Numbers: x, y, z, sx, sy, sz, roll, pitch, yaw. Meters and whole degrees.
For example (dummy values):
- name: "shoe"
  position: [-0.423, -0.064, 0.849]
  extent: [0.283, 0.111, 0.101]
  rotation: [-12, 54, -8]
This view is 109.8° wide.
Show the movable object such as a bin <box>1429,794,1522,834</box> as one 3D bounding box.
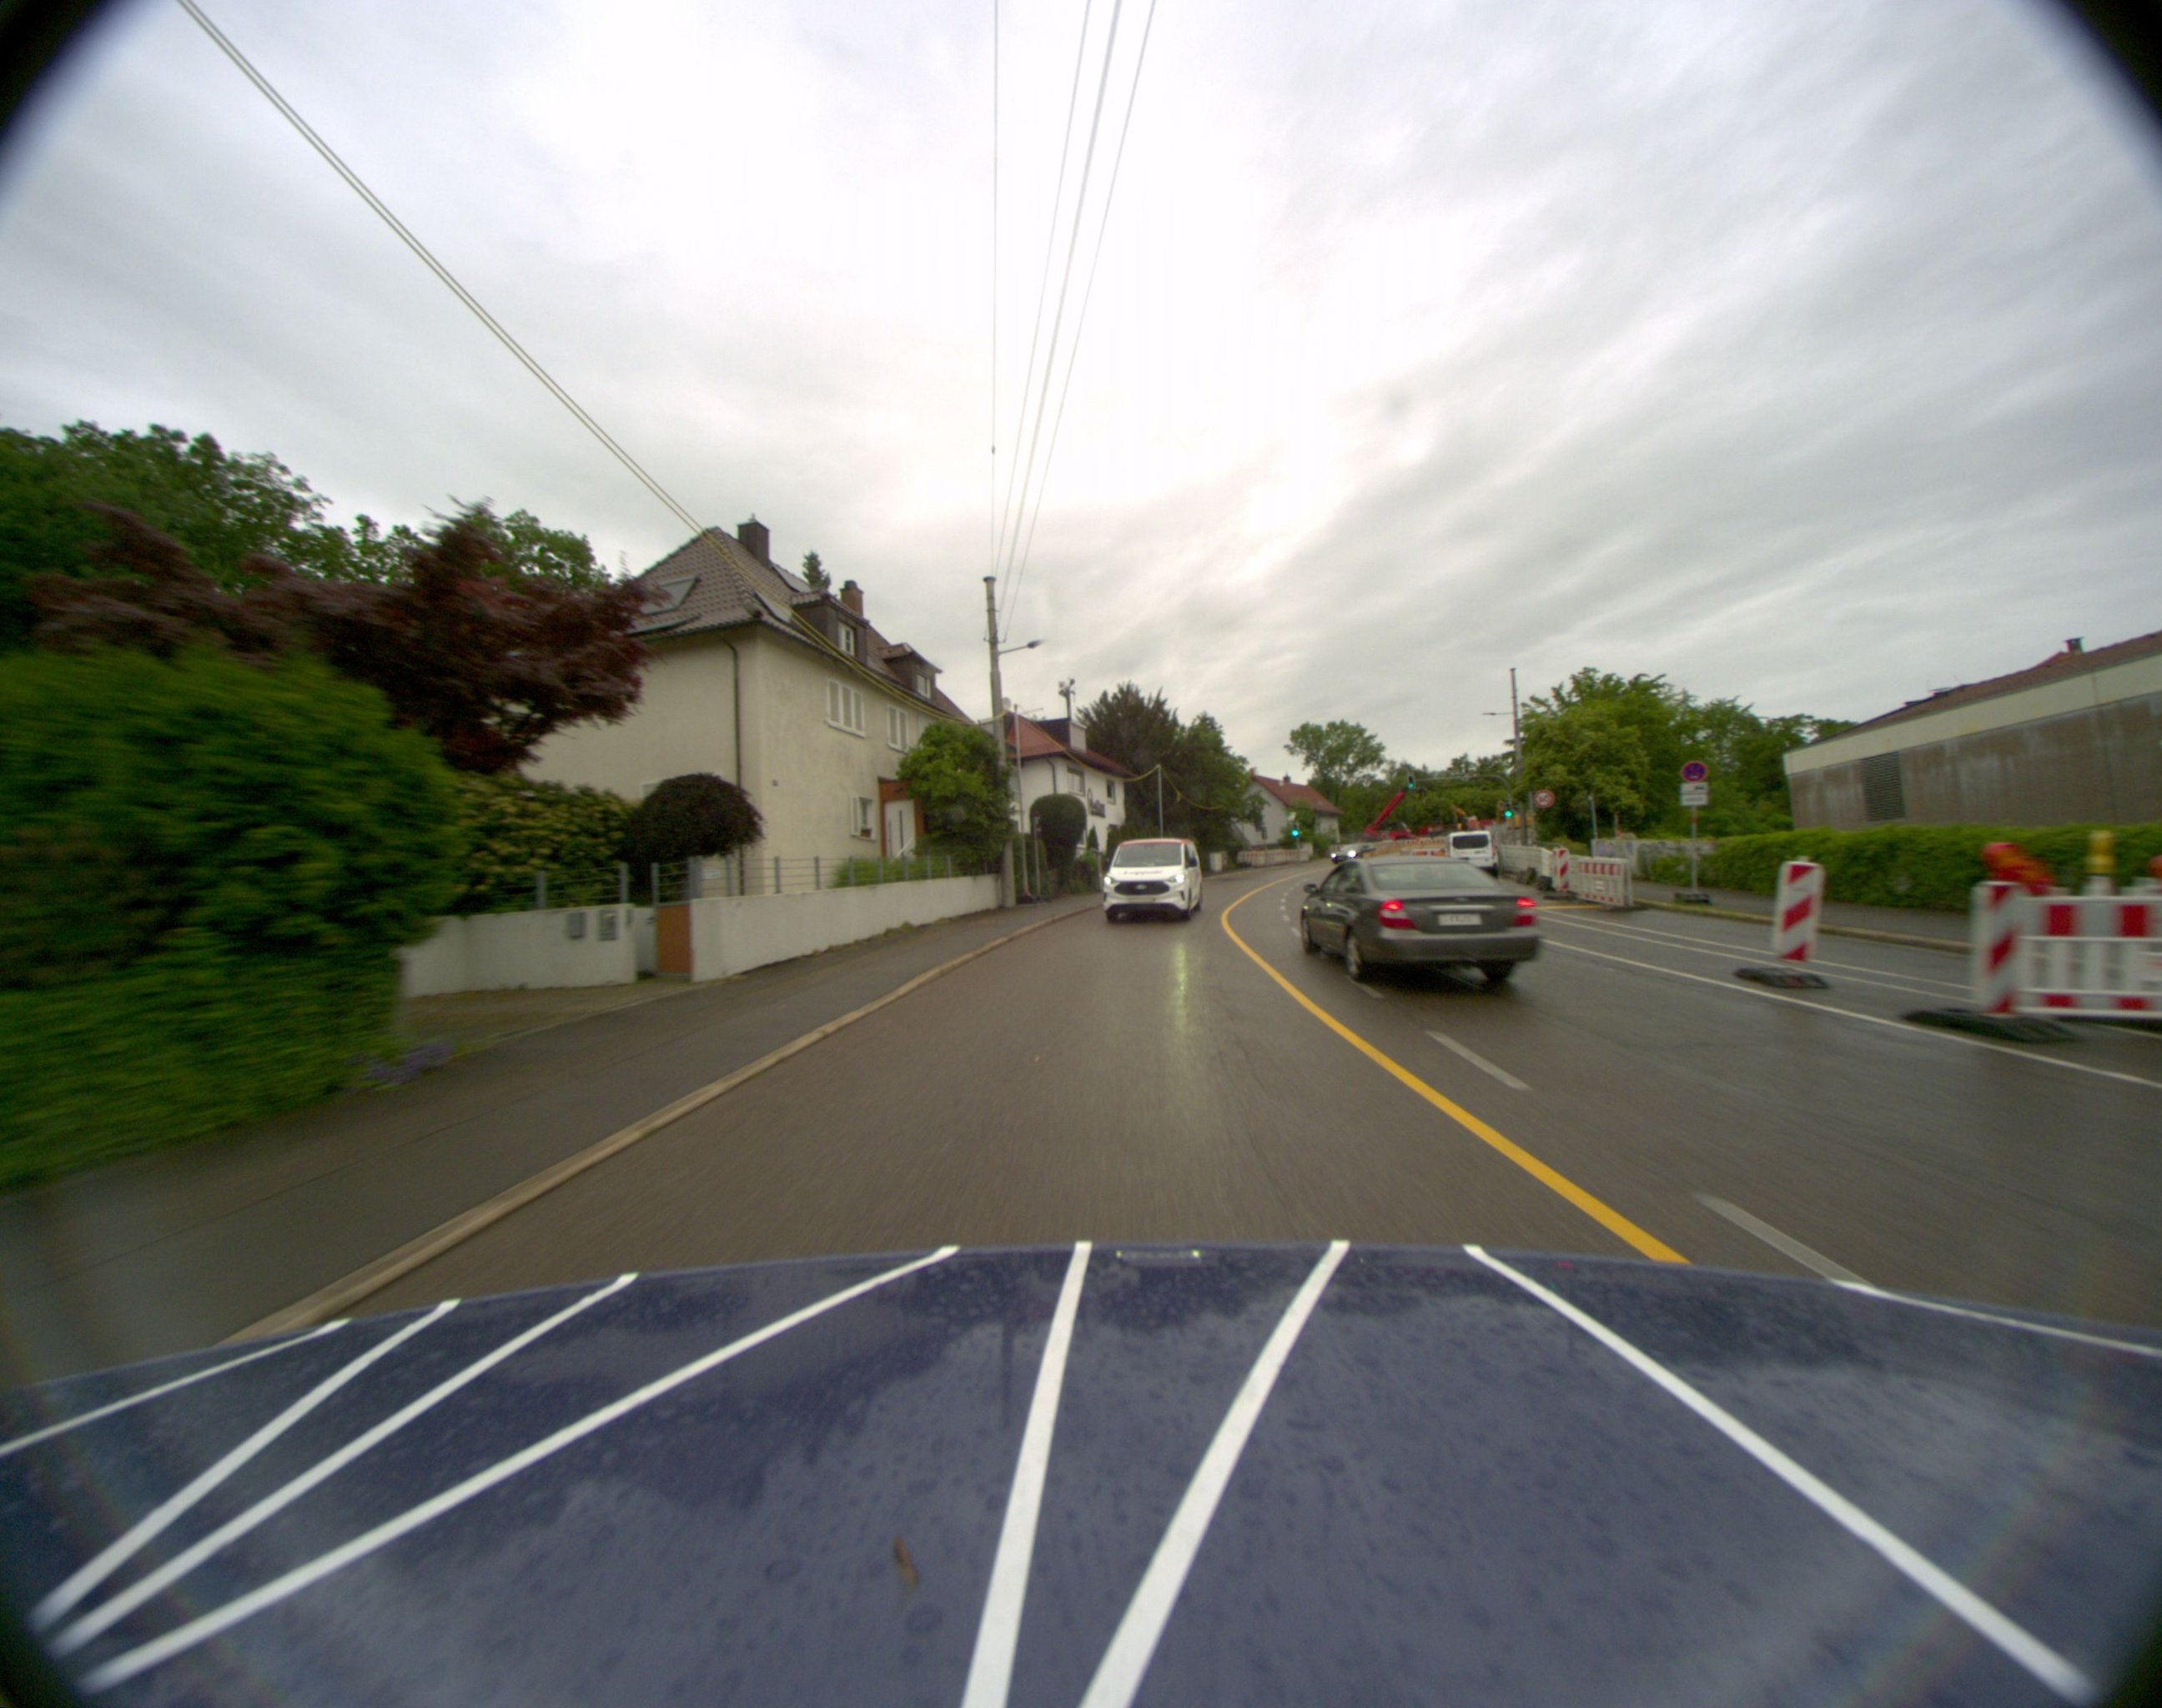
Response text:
- name: "movable object such as a bin"
  position: [54.324, -5.544, 104.517]
  extent: [13.554, 5.168, 5.243]
  rotation: [-3, 2, -33]

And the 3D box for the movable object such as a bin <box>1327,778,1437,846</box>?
- name: "movable object such as a bin"
  position: [32.122, -4.383, 81.031]
  extent: [9.031, 6.515, 7.050]
  rotation: [-1, 2, 39]

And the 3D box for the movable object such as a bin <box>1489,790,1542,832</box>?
- name: "movable object such as a bin"
  position: [55.534, -5.359, 97.411]
  extent: [3.318, 4.974, 9.862]
  rotation: [-2, 1, 15]

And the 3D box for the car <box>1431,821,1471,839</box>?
- name: "car"
  position: [33.467, -2.189, 68.692]
  extent: [1.984, 1.451, 4.523]
  rotation: [-1, 2, 43]

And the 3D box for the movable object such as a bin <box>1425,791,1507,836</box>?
- name: "movable object such as a bin"
  position: [47.759, -4.971, 94.444]
  extent: [3.330, 5.025, 8.304]
  rotation: [-4, 2, -40]

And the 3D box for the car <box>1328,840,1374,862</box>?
- name: "car"
  position: [20.186, -0.250, 56.651]
  extent: [1.984, 1.428, 4.523]
  rotation: [-2, 2, 37]

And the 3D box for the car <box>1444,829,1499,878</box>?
- name: "car"
  position: [15.606, -0.056, 30.517]
  extent: [1.806, 1.790, 4.470]
  rotation: [-2, 0, 26]

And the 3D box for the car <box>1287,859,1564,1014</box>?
- name: "car"
  position: [4.080, 0.855, 9.957]
  extent: [1.794, 1.481, 4.673]
  rotation: [-2, 0, 5]

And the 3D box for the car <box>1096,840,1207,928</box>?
- name: "car"
  position: [1.918, 0.647, 19.084]
  extent: [2.039, 1.928, 4.519]
  rotation: [-1, 1, 14]
